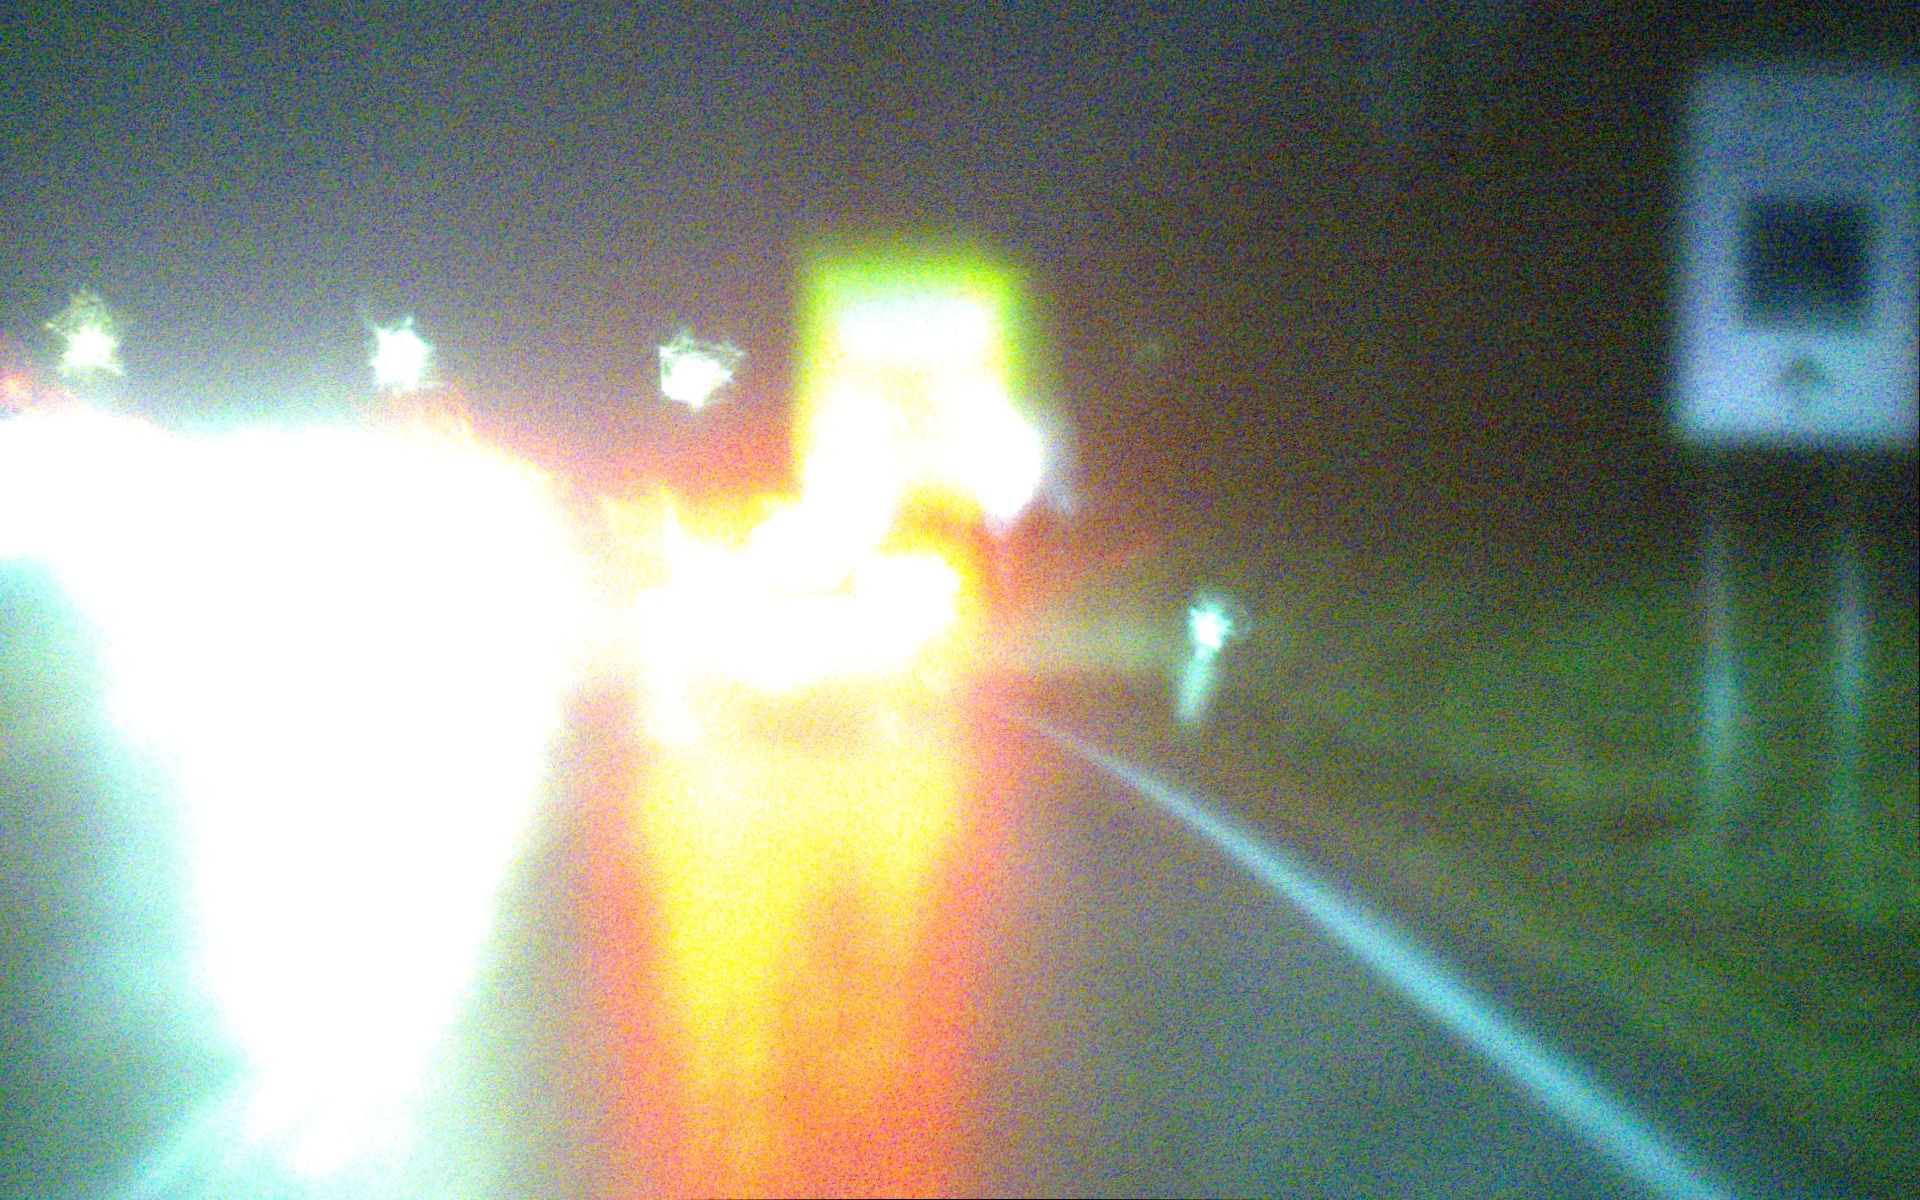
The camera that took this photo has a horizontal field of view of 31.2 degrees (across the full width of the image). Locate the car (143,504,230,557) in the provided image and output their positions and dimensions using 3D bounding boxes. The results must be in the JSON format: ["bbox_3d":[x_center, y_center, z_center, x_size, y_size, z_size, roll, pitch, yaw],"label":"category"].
[{"bbox_3d":[-20.944,-1.884,92.979,1.771,1.384,4.234,0,1,-20],"label":"car"}]

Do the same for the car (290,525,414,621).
[{"bbox_3d":[-9.888,-0.462,55.714,1.771,1.478,4.382,0,1,-13],"label":"car"}]

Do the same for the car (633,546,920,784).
[{"bbox_3d":[-1.449,0.421,26.698,1.993,1.622,4.985,1,1,-4],"label":"car"}]
